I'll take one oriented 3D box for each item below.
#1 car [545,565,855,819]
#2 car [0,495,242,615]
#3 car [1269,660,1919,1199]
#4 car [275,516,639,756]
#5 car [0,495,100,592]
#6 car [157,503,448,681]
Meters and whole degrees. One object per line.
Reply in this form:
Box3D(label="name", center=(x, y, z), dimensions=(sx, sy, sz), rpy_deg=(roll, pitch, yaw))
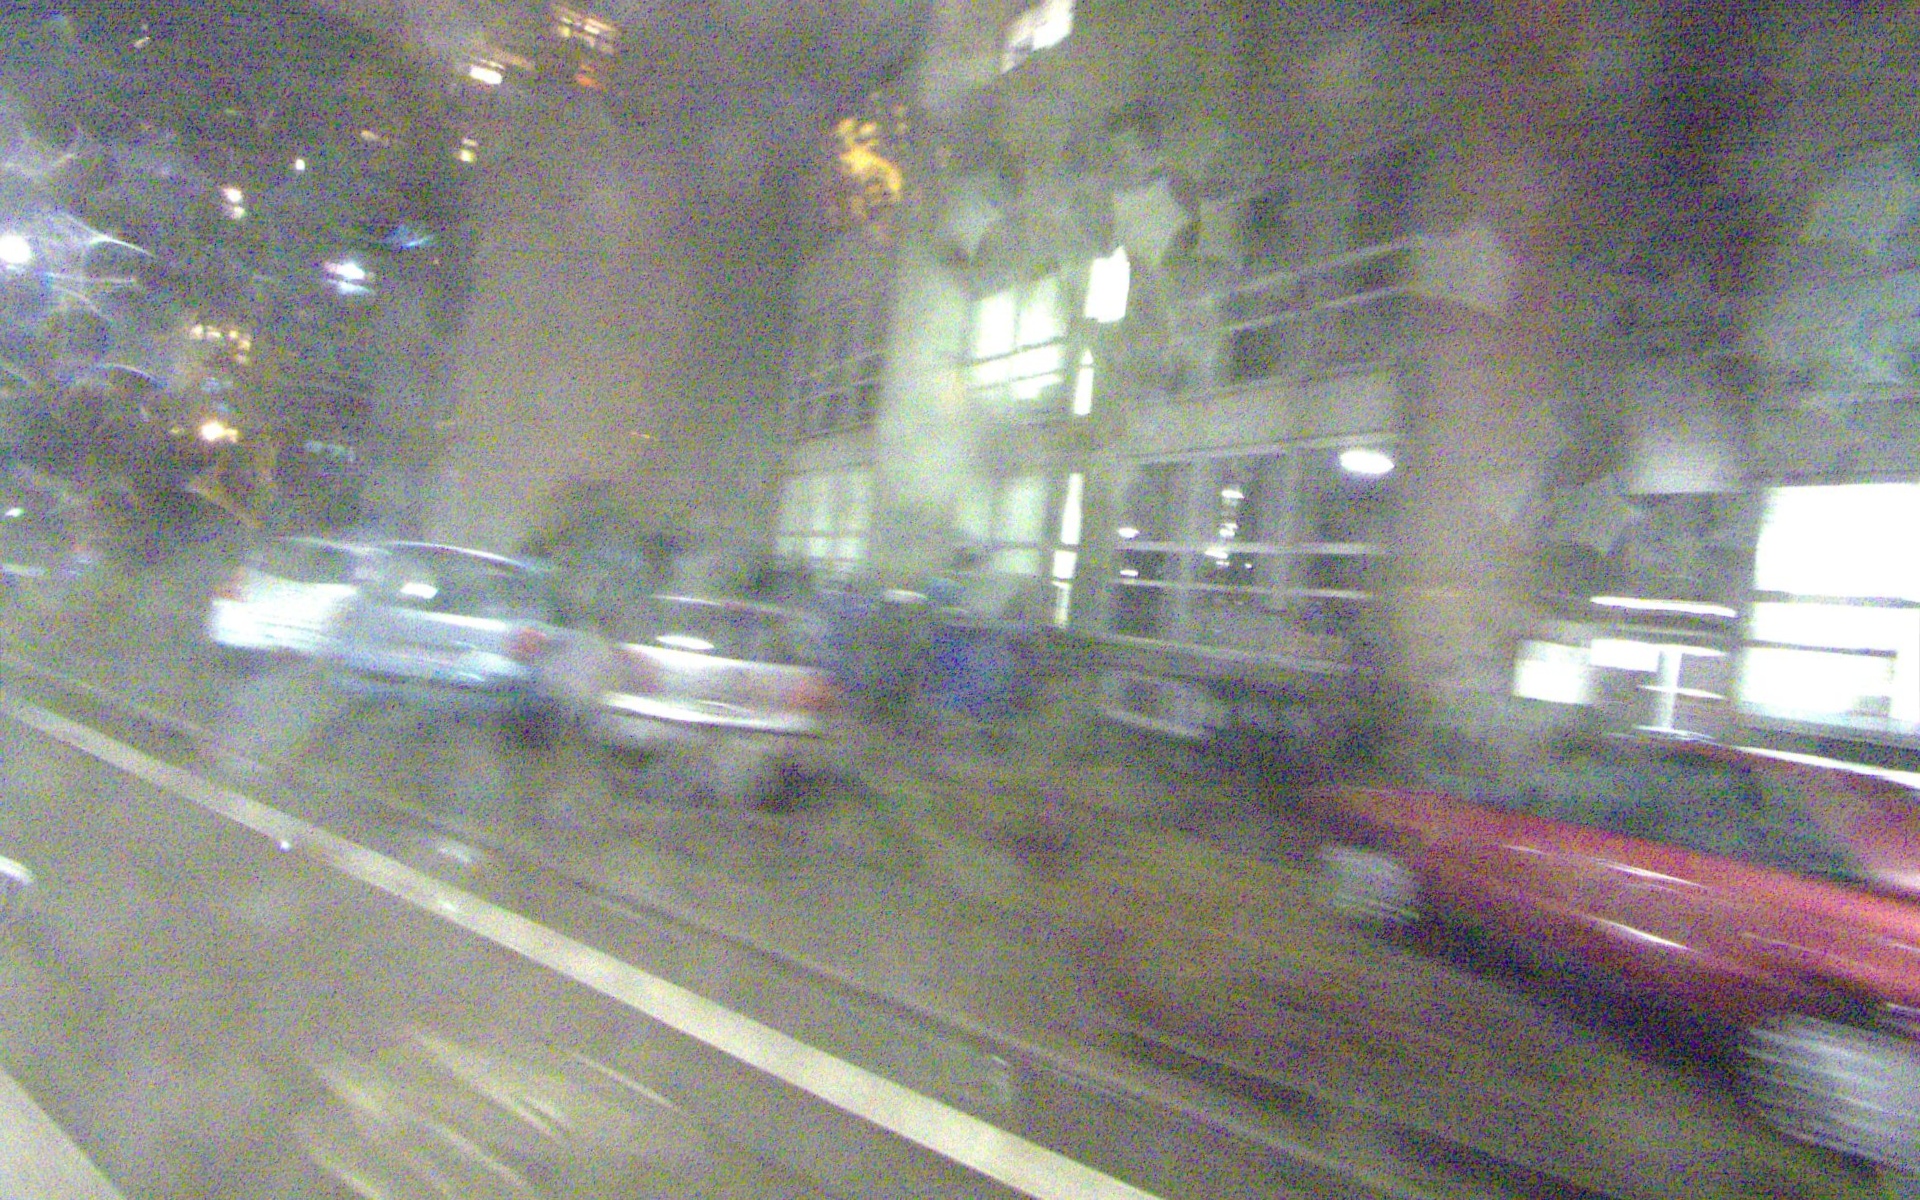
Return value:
Box3D(label="car", center=(-2.106, 0.660, 8.459), dimensions=(1.793, 1.449, 3.849), rpy_deg=(8, -3, -13))
Box3D(label="car", center=(-12.837, -0.601, 15.173), dimensions=(1.610, 1.447, 3.824), rpy_deg=(8, -2, -9))
Box3D(label="car", center=(3.555, 1.285, 4.808), dimensions=(1.667, 1.421, 4.442), rpy_deg=(8, 0, -16))
Box3D(label="car", center=(-4.338, 0.321, 9.420), dimensions=(1.791, 1.551, 3.885), rpy_deg=(8, -2, -9))
Box3D(label="car", center=(-18.178, -1.148, 18.486), dimensions=(2.025, 1.641, 3.818), rpy_deg=(8, -3, -16))
Box3D(label="car", center=(-7.594, -0.039, 12.071), dimensions=(1.679, 1.550, 3.742), rpy_deg=(10, -3, -16))
